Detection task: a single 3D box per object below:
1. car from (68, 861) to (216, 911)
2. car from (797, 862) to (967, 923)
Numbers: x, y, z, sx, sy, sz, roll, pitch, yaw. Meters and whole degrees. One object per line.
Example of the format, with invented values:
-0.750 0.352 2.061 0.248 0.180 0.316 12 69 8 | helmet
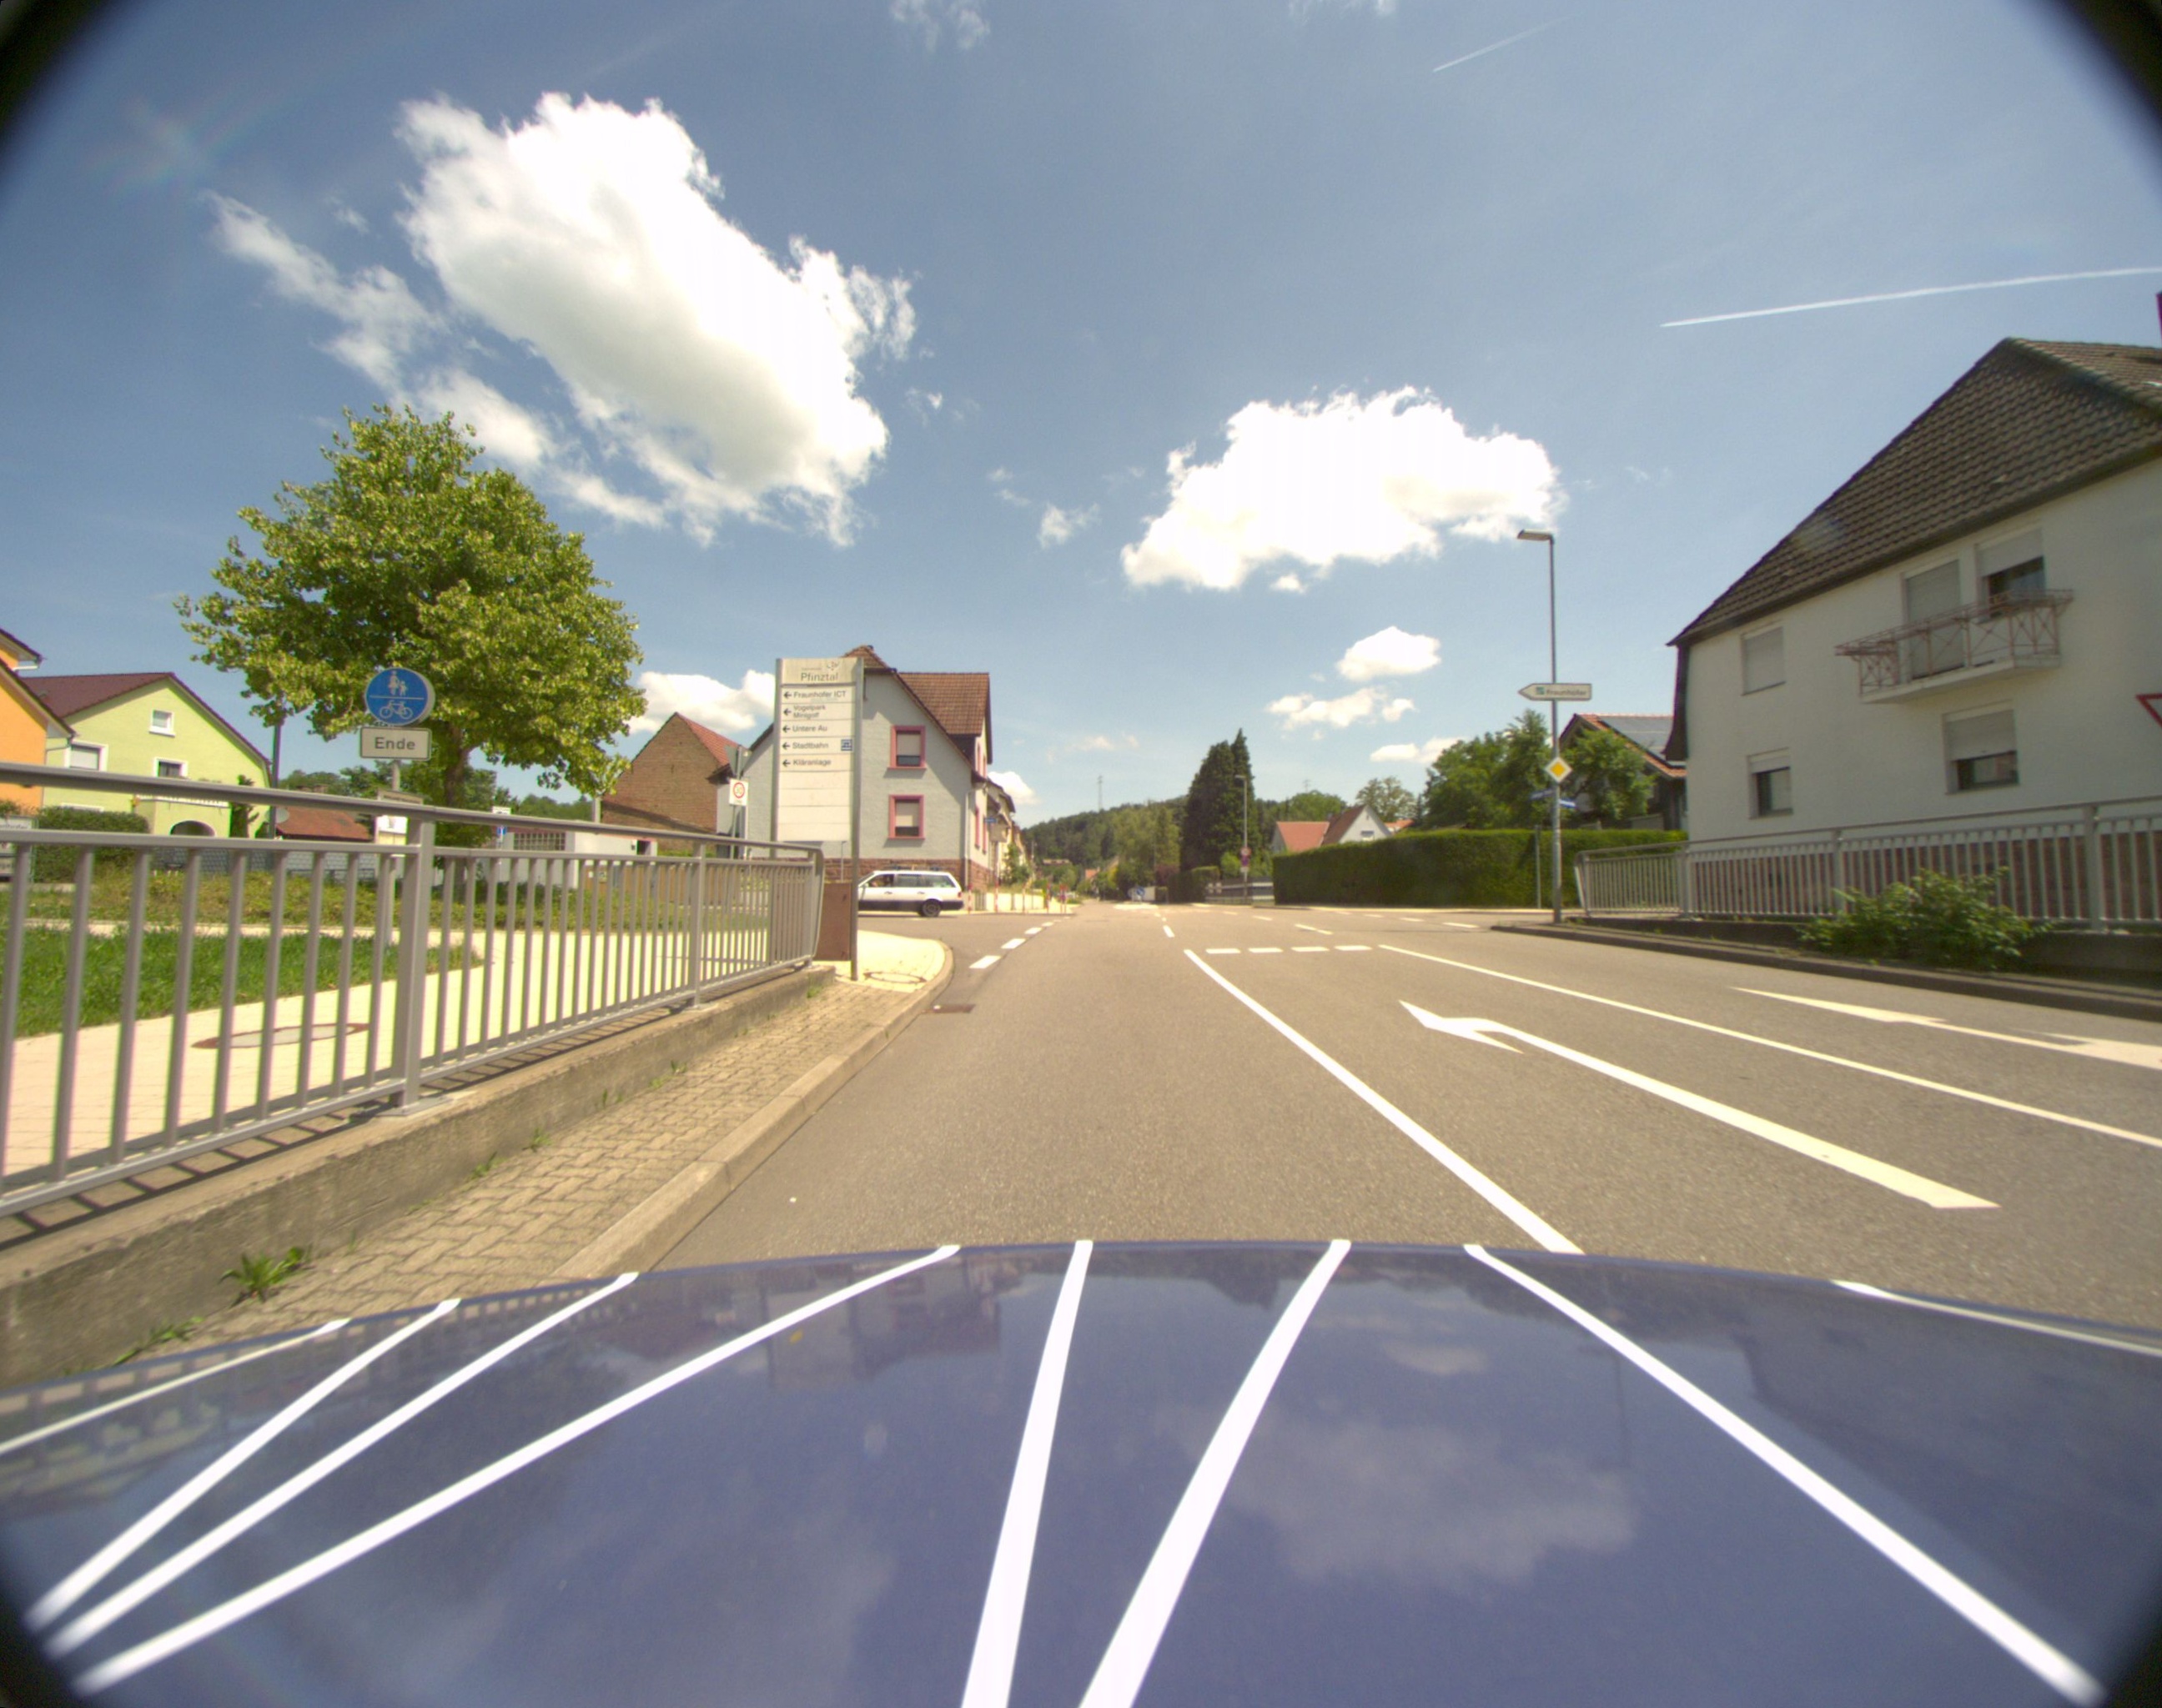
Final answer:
-36.097 1.232 29.262 3.995 1.816 1.645 -1 -2 5 | car
-6.075 1.154 23.194 4.837 1.632 1.680 -1 -4 -20 | car
